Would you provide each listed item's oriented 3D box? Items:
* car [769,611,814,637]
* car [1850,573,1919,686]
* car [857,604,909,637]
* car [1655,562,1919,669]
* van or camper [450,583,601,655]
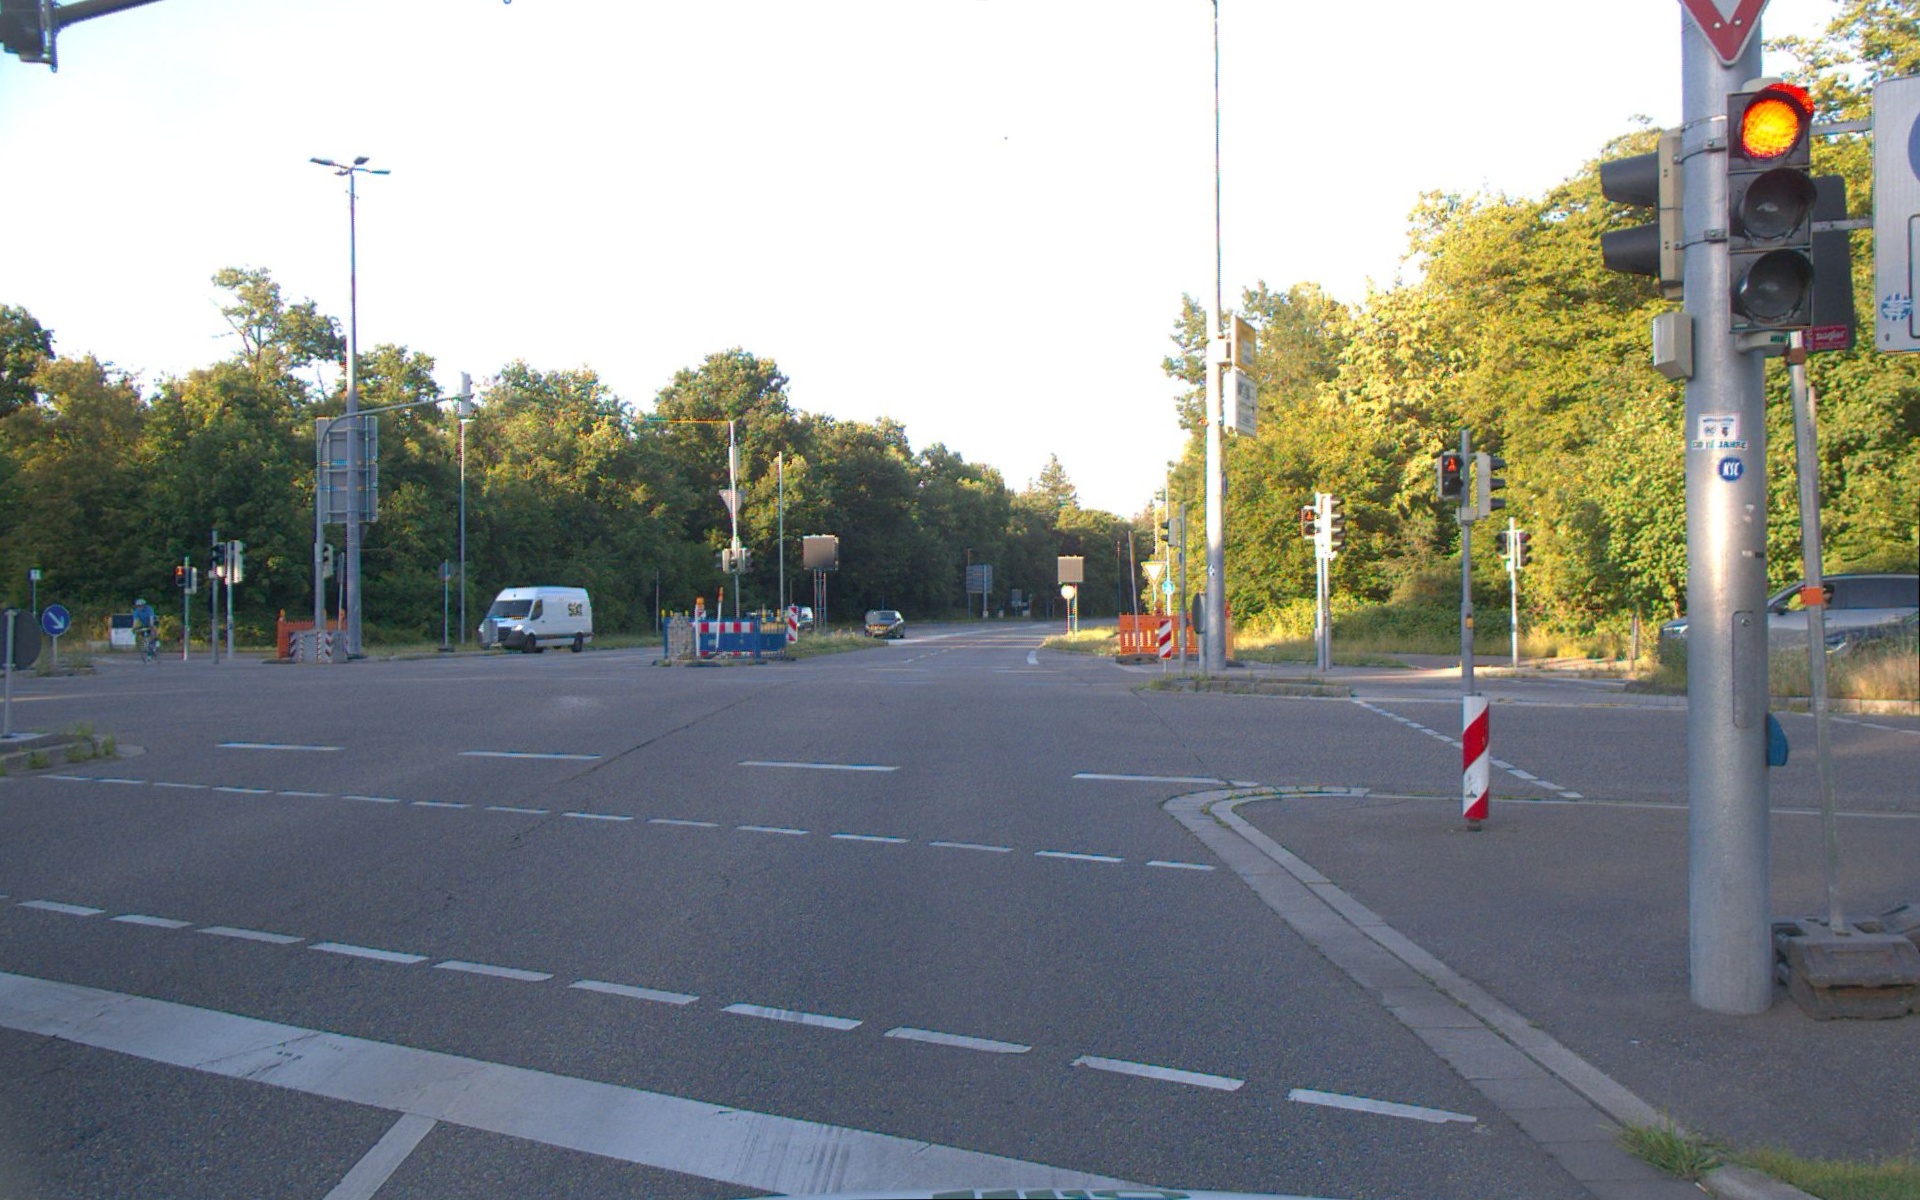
[{"bbox_3d":[-11.243,1.561,110.635,1.951,1.668,4.003,0,0,10],"label":"car"},{"bbox_3d":[14.276,0.381,22.342,3.783,1.515,1.771,0,0,22],"label":"car"},{"bbox_3d":[-4.260,1.117,92.317,1.951,1.668,4.004,-2,1,11],"label":"car"},{"bbox_3d":[13.751,0.244,26.493,4.716,1.626,2.000,-1,0,21],"label":"car"},{"bbox_3d":[-17.196,0.726,65.991,2.823,2.699,7.128,0,0,13],"label":"van or camper"}]
